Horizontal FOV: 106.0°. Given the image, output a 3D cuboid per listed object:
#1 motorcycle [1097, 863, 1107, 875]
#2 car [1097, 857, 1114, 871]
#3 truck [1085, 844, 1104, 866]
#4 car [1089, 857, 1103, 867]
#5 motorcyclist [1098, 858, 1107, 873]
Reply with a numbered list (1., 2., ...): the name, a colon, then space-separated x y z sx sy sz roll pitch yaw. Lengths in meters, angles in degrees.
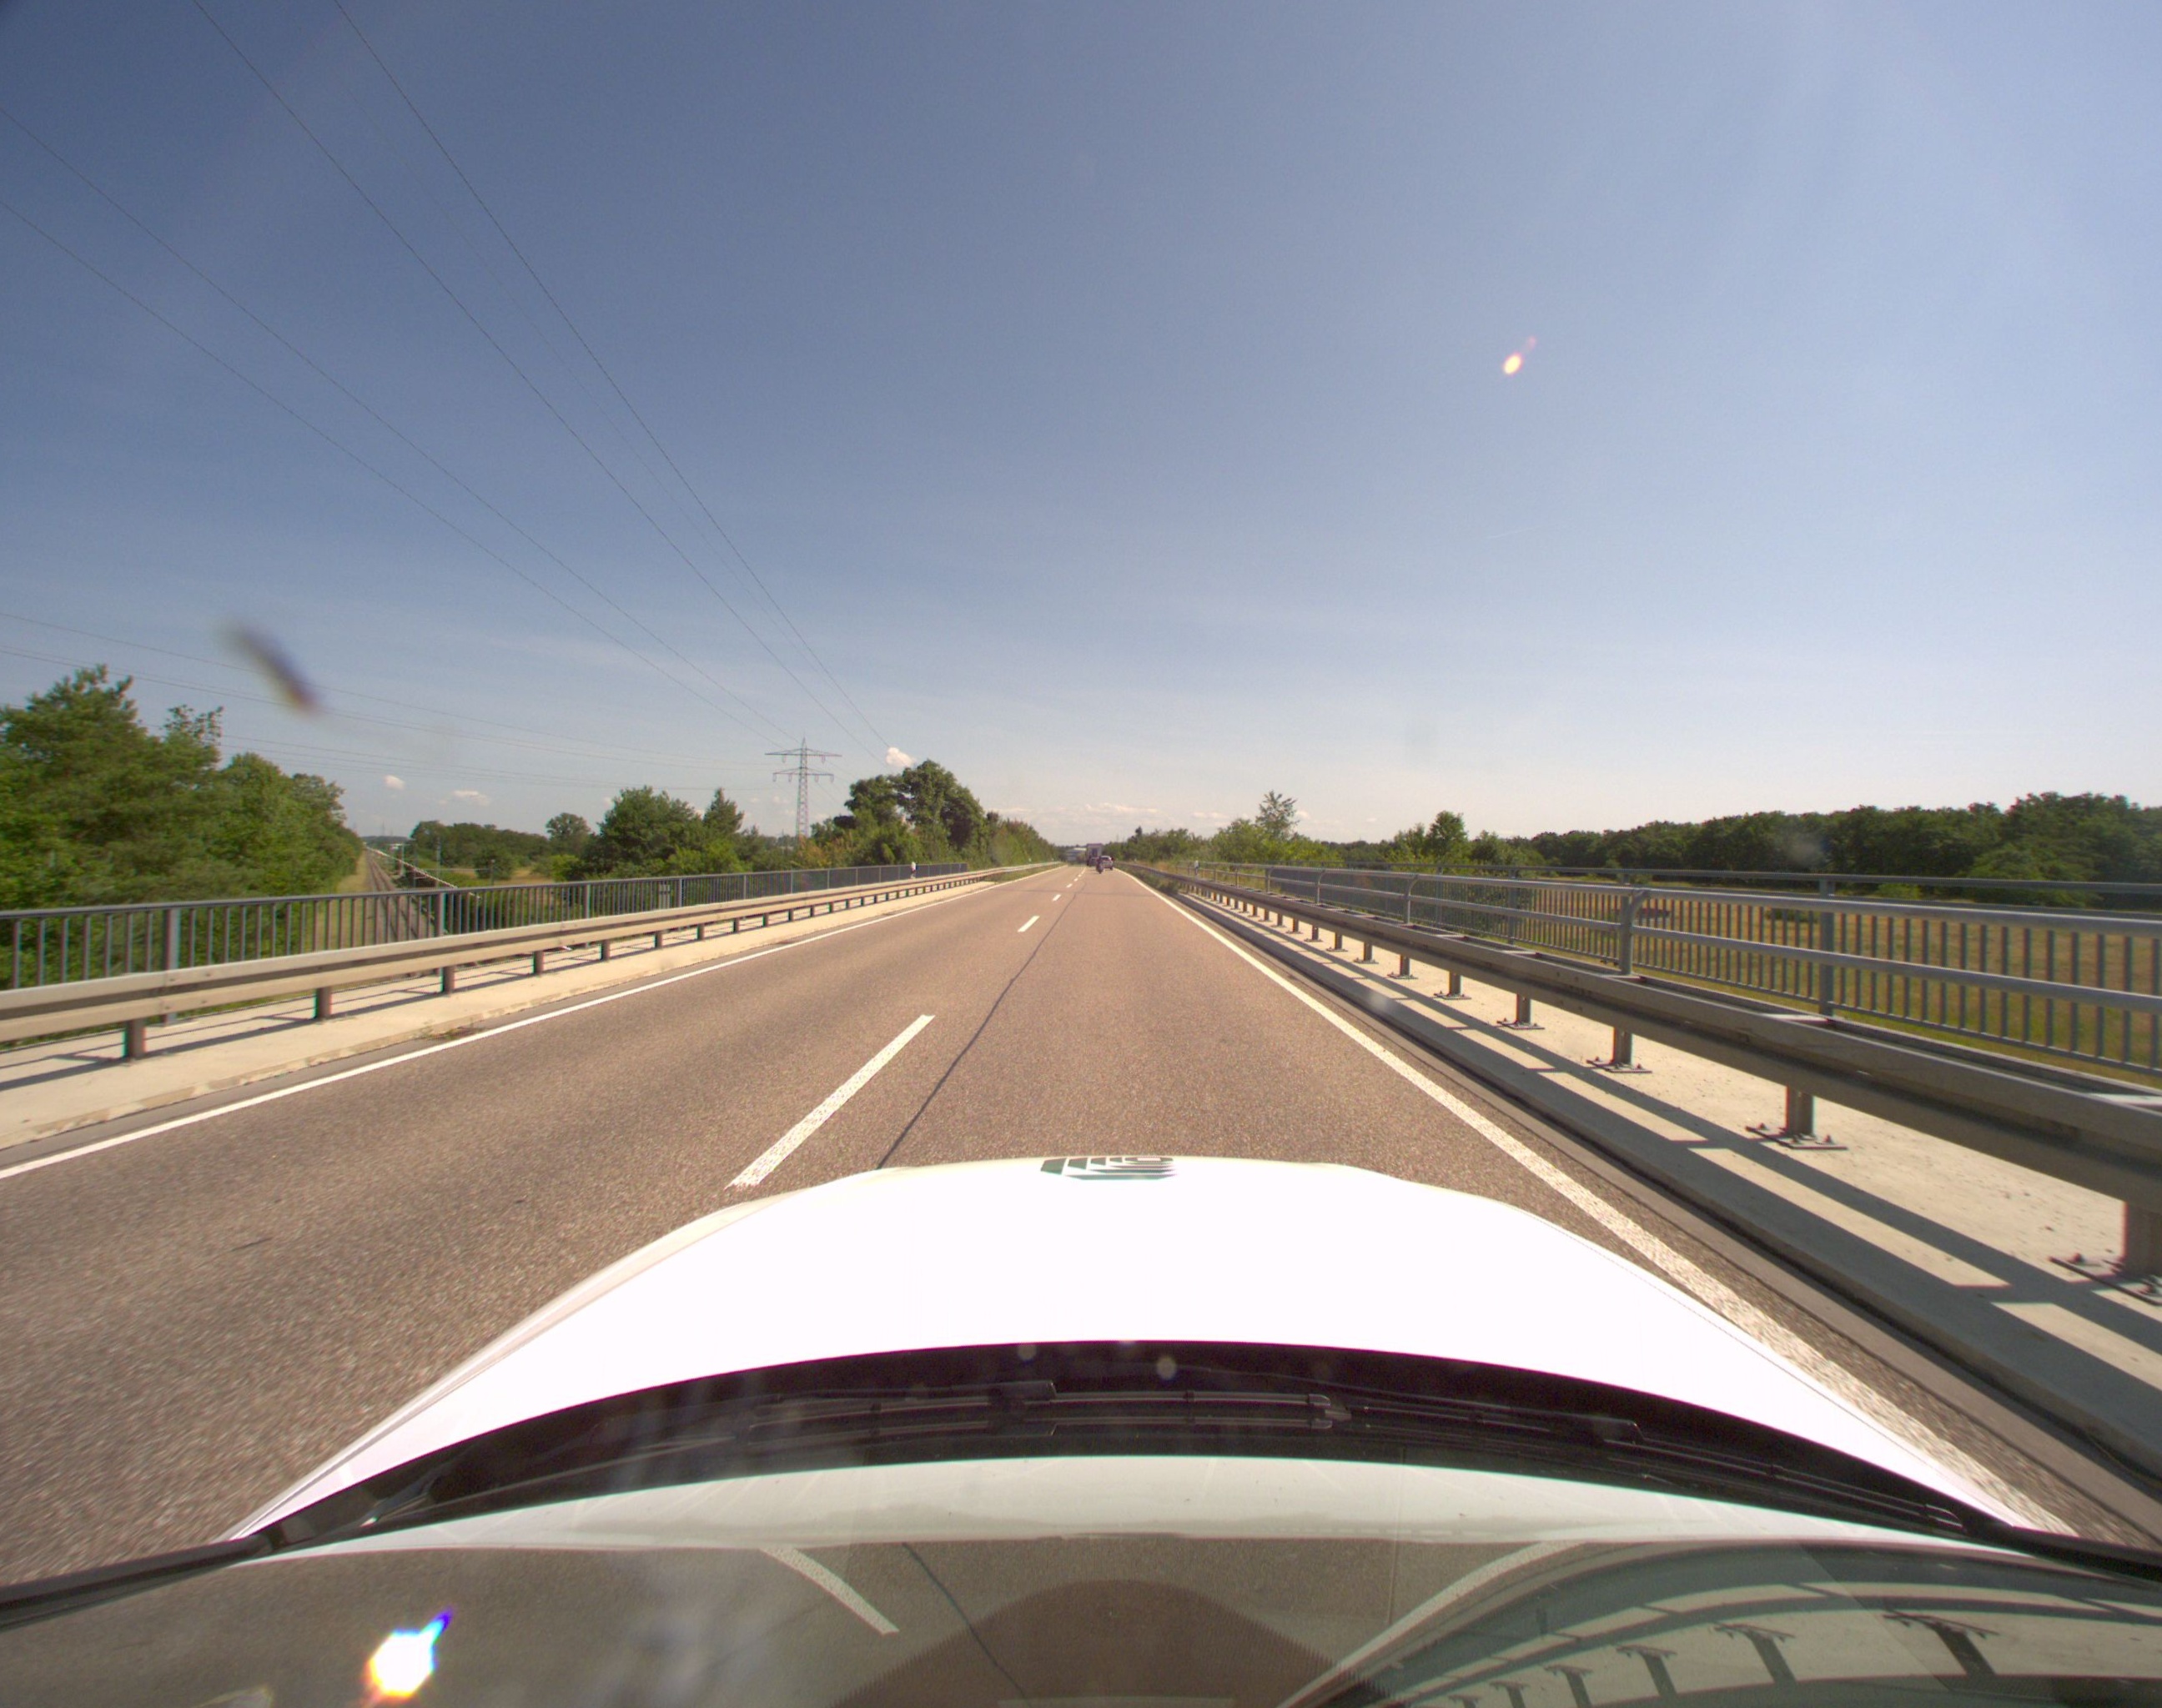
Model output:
1. motorcycle: 1.850 1.299 70.885 0.777 0.975 2.364 0 0 4
2. car: 2.748 1.094 91.375 1.819 1.451 4.000 0 0 1
3. truck: 2.389 0.168 149.370 3.232 3.979 9.440 0 0 -1
4. car: 2.273 1.210 122.274 1.858 1.420 4.003 0 0 3
5. motorcyclist: 1.861 0.993 70.904 0.777 1.325 0.814 0 0 3
